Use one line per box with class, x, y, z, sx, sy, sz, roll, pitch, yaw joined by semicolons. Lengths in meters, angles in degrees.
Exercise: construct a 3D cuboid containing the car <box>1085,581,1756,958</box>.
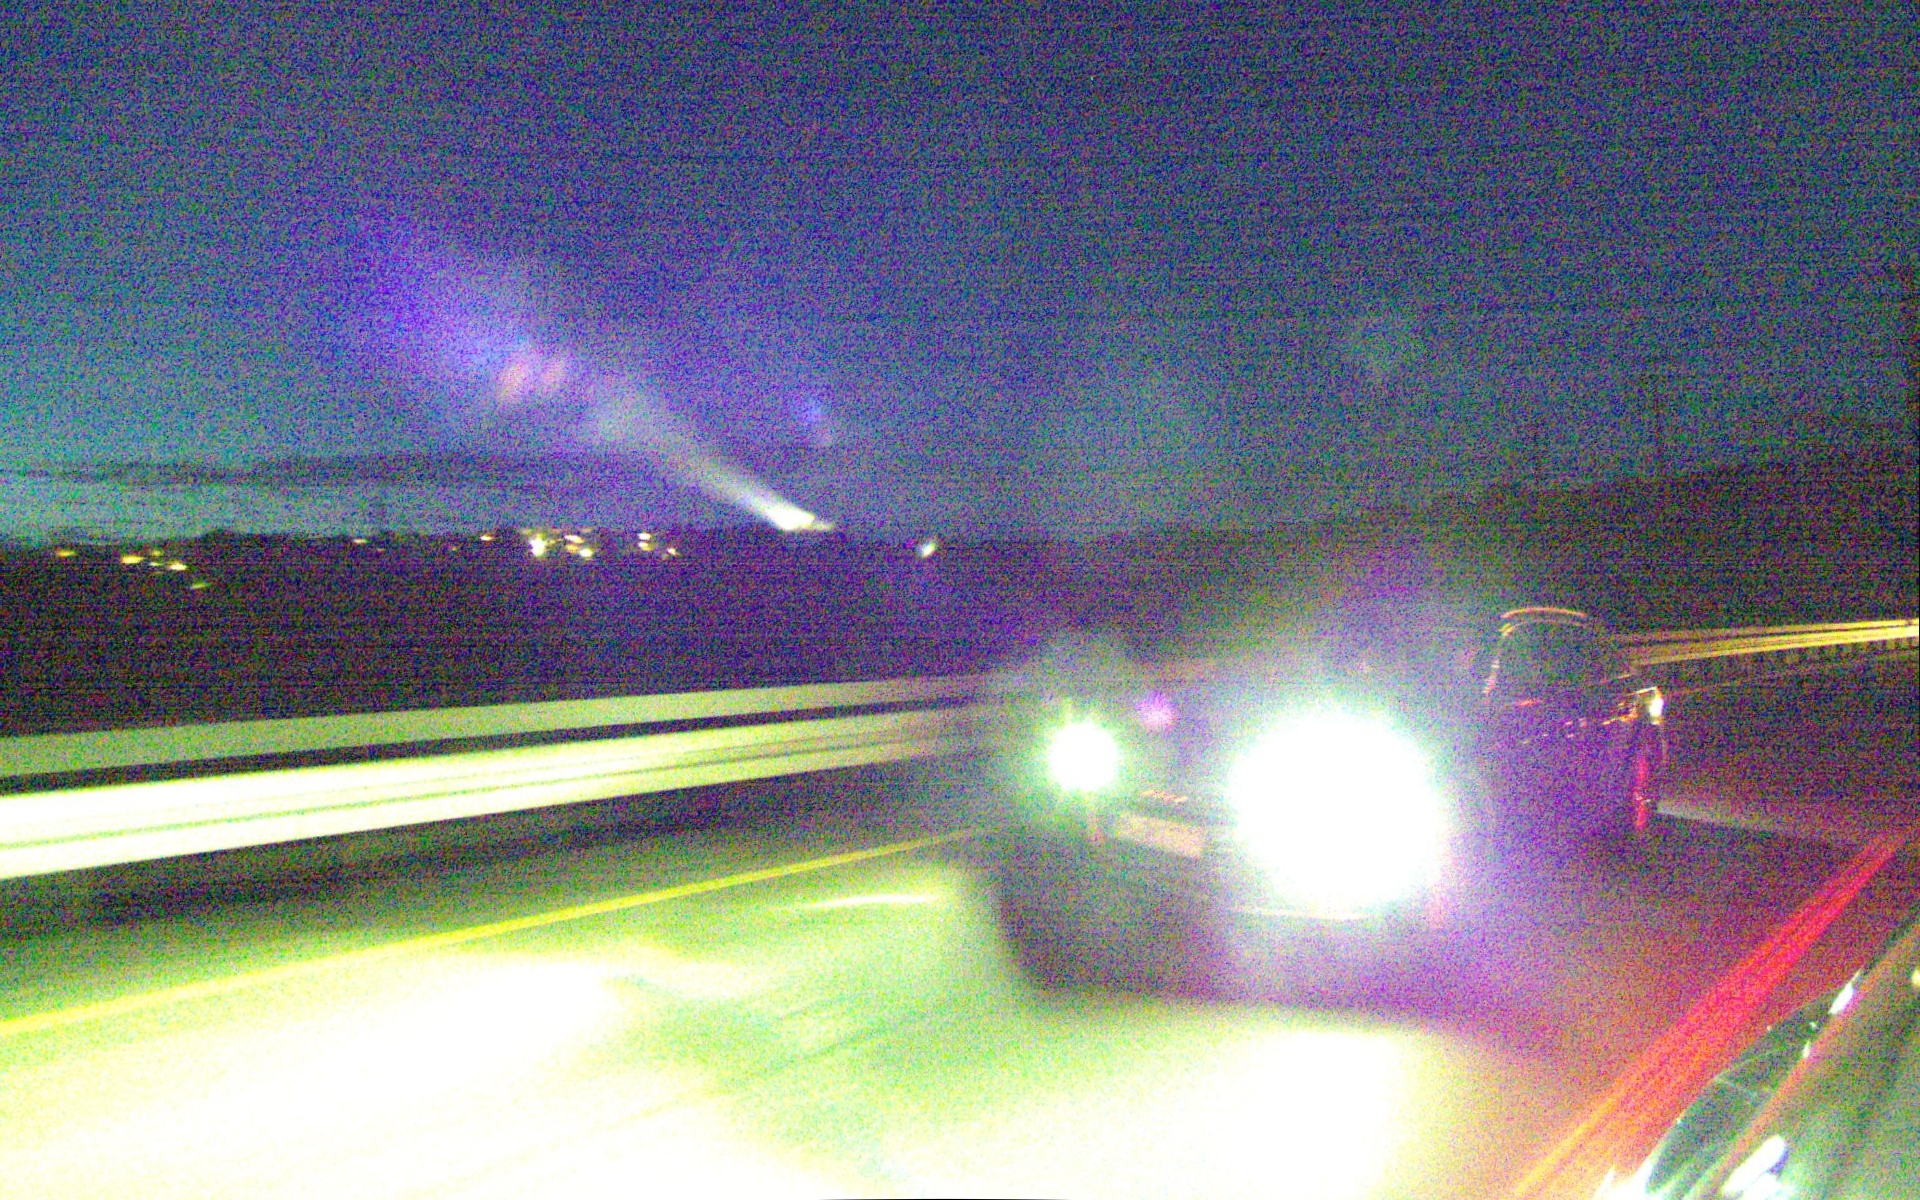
car;3.100;0.671;6.227;4.787;1.444;1.812;0;2;-39
